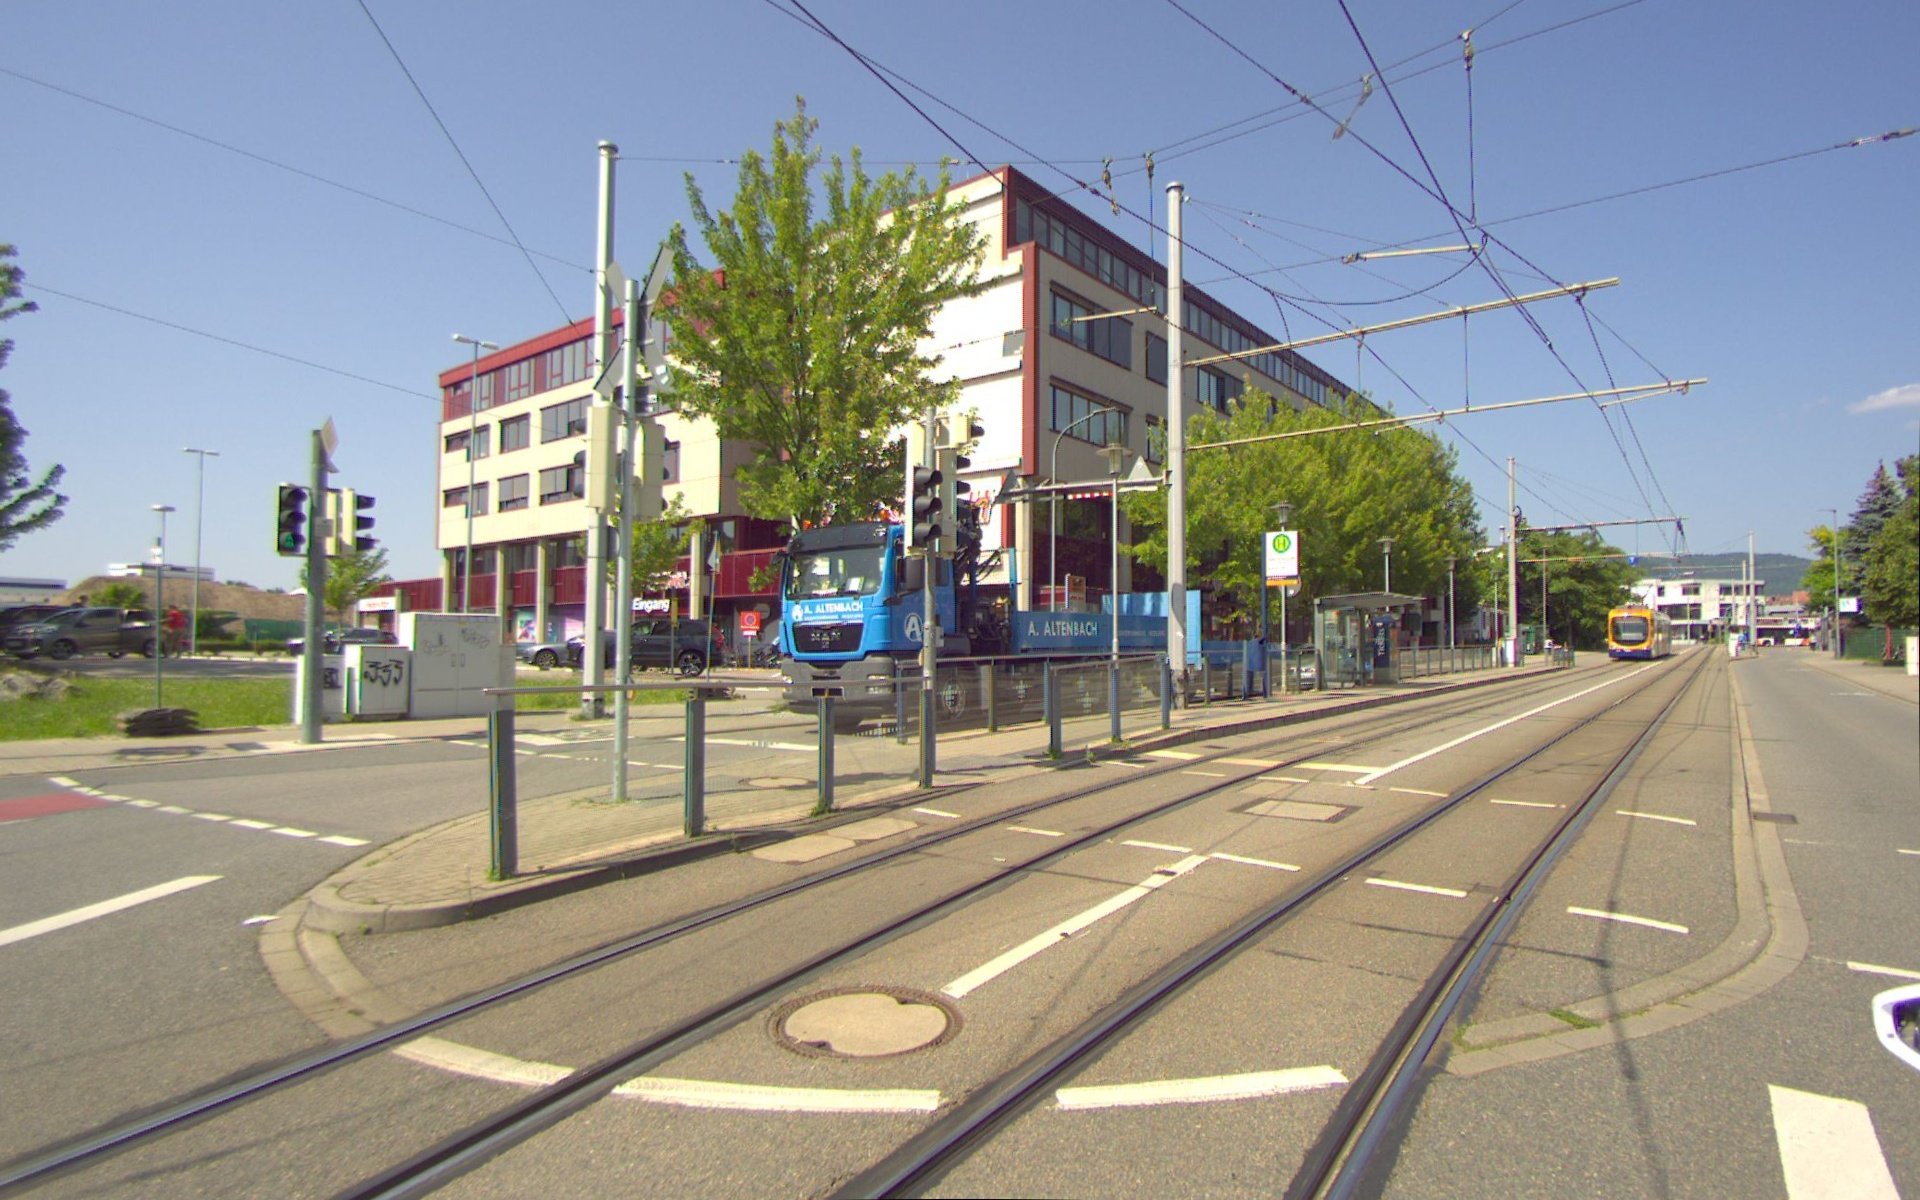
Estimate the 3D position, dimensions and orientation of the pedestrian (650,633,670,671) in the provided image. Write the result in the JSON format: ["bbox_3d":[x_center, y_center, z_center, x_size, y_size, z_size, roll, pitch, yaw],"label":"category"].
[{"bbox_3d":[-10.836,1.876,36.288,0.510,1.374,0.463,0,-2,7],"label":"pedestrian"}]

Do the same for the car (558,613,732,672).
[{"bbox_3d":[-9.862,1.382,31.820,5.030,1.614,2.182,3,-4,-15],"label":"car"}]

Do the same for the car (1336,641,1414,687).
[{"bbox_3d":[15.613,2.371,37.692,1.701,1.604,4.056,-5,-5,36],"label":"car"}]

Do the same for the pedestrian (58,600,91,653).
[{"bbox_3d":[-26.358,0.802,29.904,0.558,1.547,0.751,1,-2,-29],"label":"pedestrian"}]

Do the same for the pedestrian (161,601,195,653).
[{"bbox_3d":[-23.344,0.813,29.989,0.556,1.547,0.753,1,-2,-19],"label":"pedestrian"}]

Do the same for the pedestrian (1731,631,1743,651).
[{"bbox_3d":[69.525,3.658,89.889,0.734,1.763,0.724,-2,-3,38],"label":"pedestrian"}]

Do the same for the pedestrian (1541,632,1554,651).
[{"bbox_3d":[48.772,3.445,83.379,0.824,1.557,0.835,-2,-3,38],"label":"pedestrian"}]

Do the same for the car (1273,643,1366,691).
[{"bbox_3d":[11.939,2.185,33.234,1.701,1.491,4.264,-4,-4,36],"label":"car"}]

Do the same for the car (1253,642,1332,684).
[{"bbox_3d":[12.981,2.414,39.117,1.702,1.482,3.887,0,-2,39],"label":"car"}]

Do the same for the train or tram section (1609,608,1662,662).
[{"bbox_3d":[46.073,2.411,68.442,2.578,3.492,5.821,-2,-3,37],"label":"train or tram section"}]

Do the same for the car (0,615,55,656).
[{"bbox_3d":[-43.182,1.572,44.271,1.959,1.827,4.721,-1,-2,8],"label":"car"}]

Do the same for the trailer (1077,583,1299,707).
[{"bbox_3d":[6.037,1.119,25.519,2.761,2.662,7.575,-2,-3,36],"label":"trailer"}]

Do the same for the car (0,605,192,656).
[{"bbox_3d":[-24.984,0.855,29.183,1.684,1.356,3.991,-1,-1,17],"label":"car"}]

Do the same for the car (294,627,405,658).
[{"bbox_3d":[-29.246,2.043,48.206,4.163,1.470,1.720,0,-2,-9],"label":"car"}]

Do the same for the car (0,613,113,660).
[{"bbox_3d":[-31.877,1.220,34.114,1.815,1.512,4.819,-1,-1,6],"label":"car"}]

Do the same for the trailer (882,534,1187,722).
[{"bbox_3d":[1.751,0.581,19.726,2.709,3.016,6.873,-2,-3,37],"label":"trailer"}]

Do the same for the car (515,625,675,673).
[{"bbox_3d":[-12.294,1.669,34.114,4.781,1.512,1.916,1,-2,-9],"label":"car"}]

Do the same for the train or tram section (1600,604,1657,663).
[{"bbox_3d":[42.535,2.172,63.825,2.578,3.579,5.721,-2,-3,37],"label":"train or tram section"}]

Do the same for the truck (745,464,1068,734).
[{"bbox_3d":[-0.690,0.093,16.449,2.709,3.656,5.021,-2,-3,37],"label":"truck"}]

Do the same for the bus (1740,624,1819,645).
[{"bbox_3d":[115.174,4.833,141.266,8.613,2.917,2.446,0,-2,7],"label":"bus"}]
